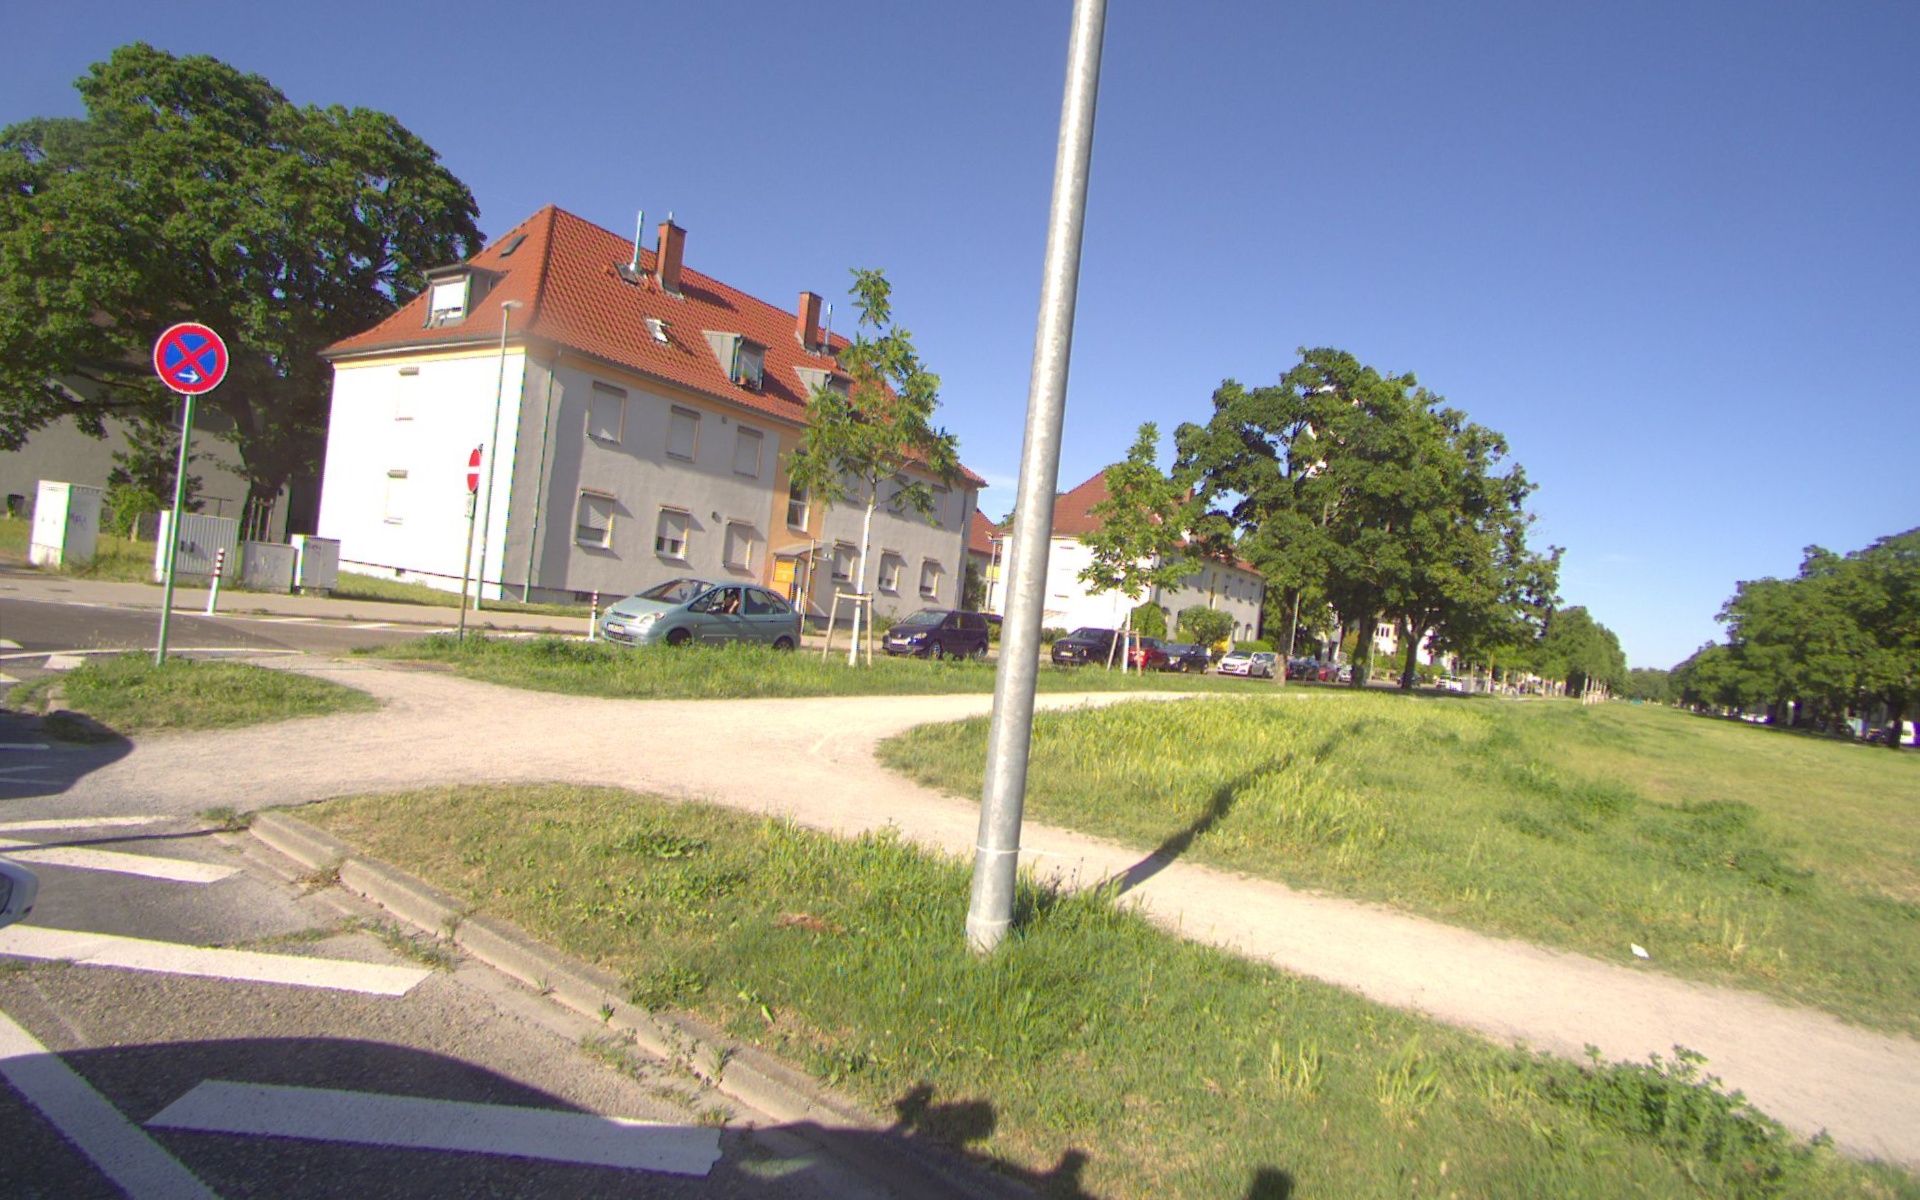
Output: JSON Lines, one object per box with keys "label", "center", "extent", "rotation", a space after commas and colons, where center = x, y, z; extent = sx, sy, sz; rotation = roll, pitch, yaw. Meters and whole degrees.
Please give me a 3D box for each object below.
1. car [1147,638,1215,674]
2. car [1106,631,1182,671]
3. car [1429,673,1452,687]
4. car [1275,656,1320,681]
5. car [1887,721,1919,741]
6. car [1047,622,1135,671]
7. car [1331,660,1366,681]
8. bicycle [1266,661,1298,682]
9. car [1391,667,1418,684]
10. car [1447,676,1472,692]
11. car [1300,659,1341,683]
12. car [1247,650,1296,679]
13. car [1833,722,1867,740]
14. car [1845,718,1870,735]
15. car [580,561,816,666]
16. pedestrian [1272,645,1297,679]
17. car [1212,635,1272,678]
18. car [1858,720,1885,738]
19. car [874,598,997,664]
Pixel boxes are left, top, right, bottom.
{"label": "car", "center": [10.903, 2.785, 49.493], "extent": [1.694, 1.459, 4.129], "rotation": [7, 0, 35]}
{"label": "car", "center": [8.398, 2.340, 45.701], "extent": [1.694, 1.459, 4.129], "rotation": [7, 0, 35]}
{"label": "car", "center": [56.383, 9.410, 117.982], "extent": [1.694, 1.358, 3.798], "rotation": [7, 0, 35]}
{"label": "car", "center": [22.158, 4.516, 65.963], "extent": [1.694, 1.358, 3.798], "rotation": [7, 0, 35]}
{"label": "car", "center": [103.583, 14.357, 110.522], "extent": [1.837, 1.868, 3.982], "rotation": [7, 0, 36]}
{"label": "car", "center": [5.368, 1.912, 40.879], "extent": [1.694, 1.602, 4.129], "rotation": [7, 0, 35]}
{"label": "car", "center": [31.048, 5.613, 80.326], "extent": [1.694, 1.358, 3.798], "rotation": [7, 0, 35]}
{"label": "bicycle", "center": [17.565, 3.896, 54.774], "extent": [1.036, 0.949, 2.759], "rotation": [7, 0, 30]}
{"label": "car", "center": [43.765, 7.407, 99.047], "extent": [1.694, 1.358, 3.798], "rotation": [7, 0, 35]}
{"label": "car", "center": [51.398, 8.643, 103.480], "extent": [1.694, 1.358, 3.798], "rotation": [7, 0, 35]}
{"label": "car", "center": [25.542, 5.029, 71.193], "extent": [1.694, 1.358, 3.798], "rotation": [7, 0, 35]}
{"label": "car", "center": [19.131, 3.981, 61.744], "extent": [1.694, 1.517, 3.798], "rotation": [7, 0, 35]}
{"label": "car", "center": [93.475, 13.717, 105.697], "extent": [2.049, 1.484, 4.713], "rotation": [7, 0, 36]}
{"label": "car", "center": [119.245, 16.784, 133.721], "extent": [1.837, 1.868, 3.982], "rotation": [7, 0, 36]}
{"label": "car", "center": [-5.068, 0.339, 20.008], "extent": [1.859, 1.628, 4.235], "rotation": [7, 0, 35]}
{"label": "pedestrian", "center": [17.712, 3.365, 54.913], "extent": [1.036, 1.730, 0.692], "rotation": [7, 1, 30]}
{"label": "car", "center": [16.075, 3.235, 57.200], "extent": [1.842, 2.038, 4.244], "rotation": [7, 0, 35]}
{"label": "car", "center": [110.229, 15.589, 121.691], "extent": [1.837, 1.868, 3.982], "rotation": [7, 0, 36]}
{"label": "car", "center": [-0.719, 1.017, 31.985], "extent": [1.694, 1.684, 4.053], "rotation": [7, 0, 35]}
